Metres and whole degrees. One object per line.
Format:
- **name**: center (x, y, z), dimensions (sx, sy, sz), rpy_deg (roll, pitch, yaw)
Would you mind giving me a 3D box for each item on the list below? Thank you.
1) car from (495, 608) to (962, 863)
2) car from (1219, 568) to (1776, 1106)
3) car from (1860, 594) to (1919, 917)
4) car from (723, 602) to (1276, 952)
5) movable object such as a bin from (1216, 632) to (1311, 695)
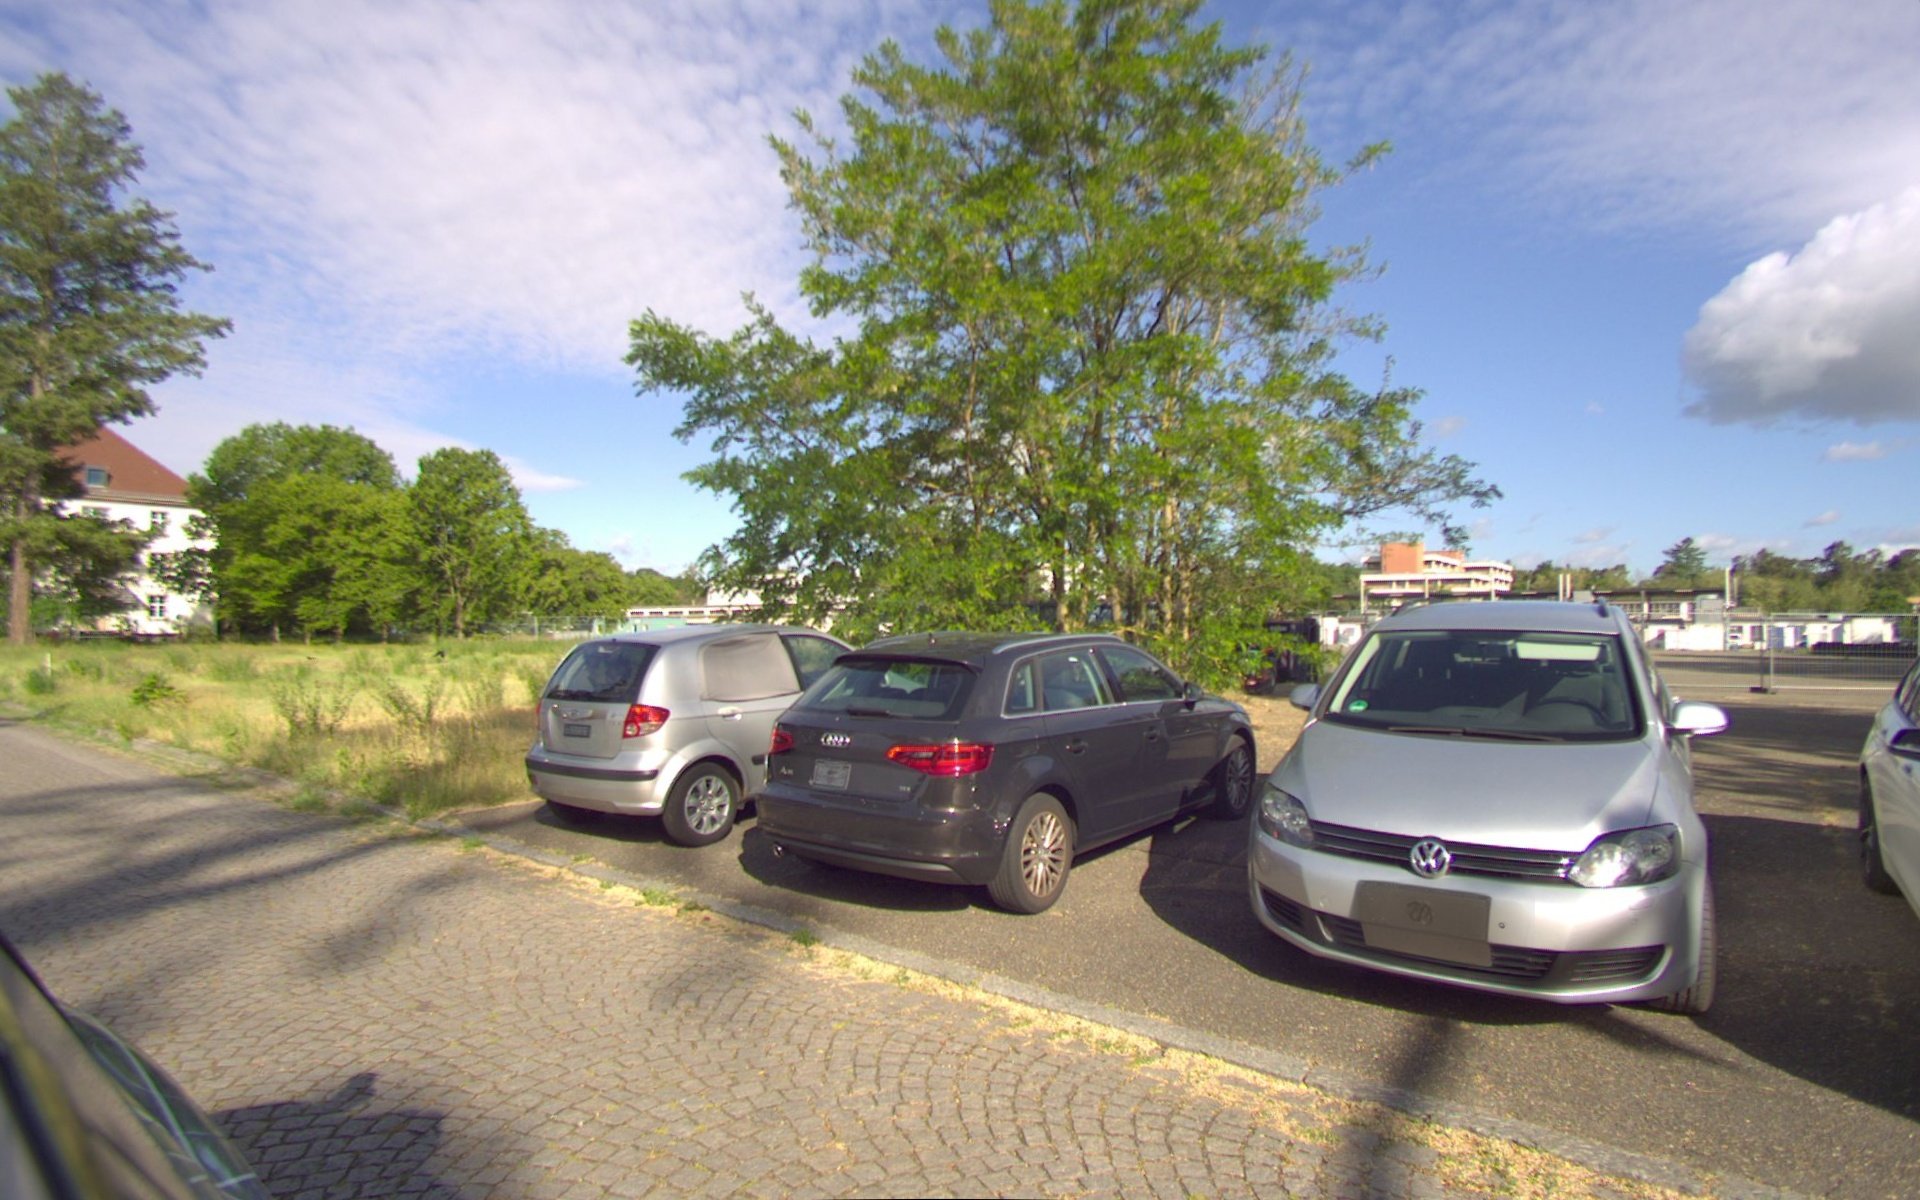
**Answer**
- **car**: center (-1.660, 0.868, 8.173), dimensions (1.633, 1.482, 3.434), rpy_deg (-1, 1, 36)
- **car**: center (2.863, 0.699, 5.194), dimensions (1.718, 1.638, 3.911), rpy_deg (-1, 0, 34)
- **car**: center (4.845, 0.726, 3.772), dimensions (1.749, 1.478, 4.500), rpy_deg (-2, 0, 36)
- **car**: center (0.518, 0.815, 6.576), dimensions (1.686, 1.482, 3.760), rpy_deg (-1, 1, 38)
- **movable object such as a bin**: center (5.755, 1.157, 19.086), dimensions (0.996, 1.116, 2.257), rpy_deg (-1, -2, 37)
